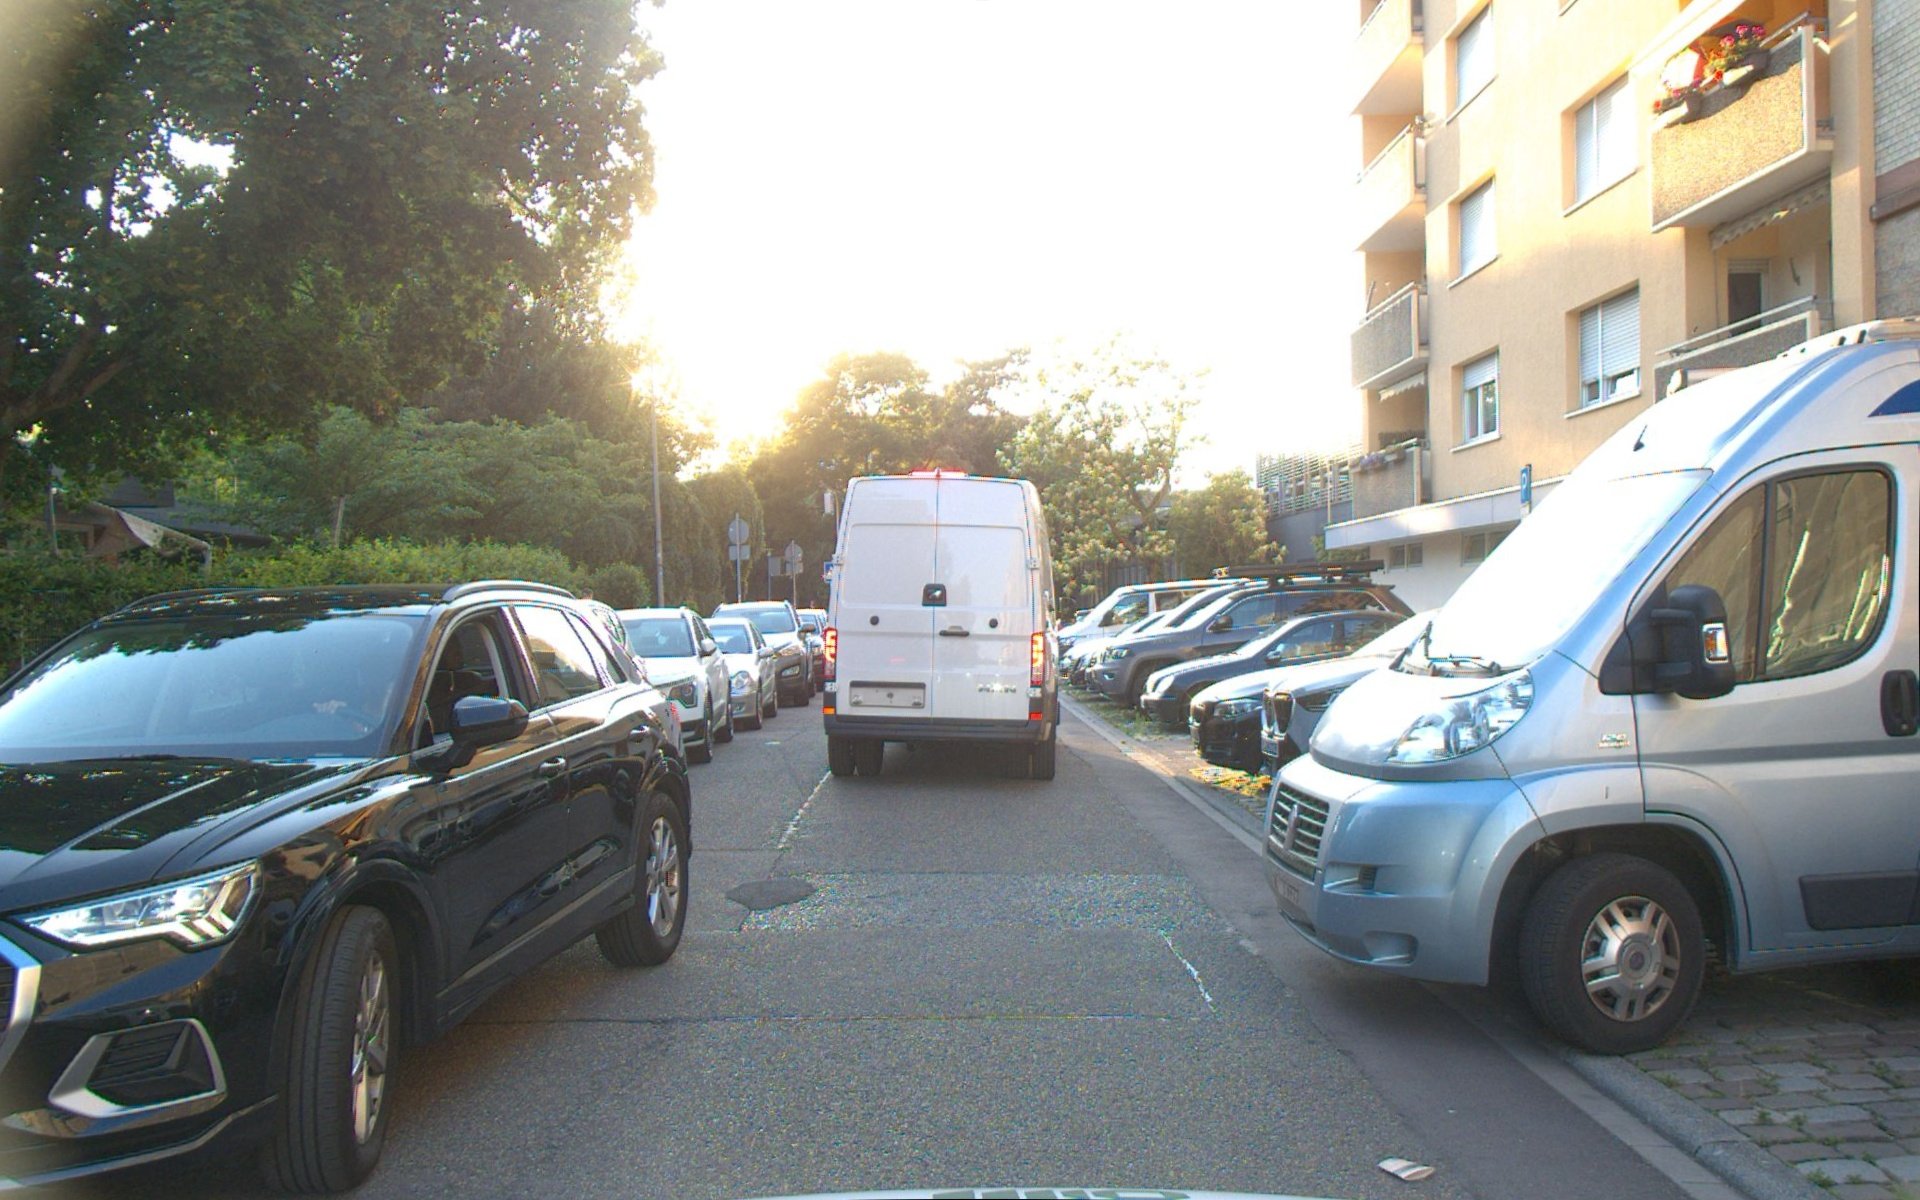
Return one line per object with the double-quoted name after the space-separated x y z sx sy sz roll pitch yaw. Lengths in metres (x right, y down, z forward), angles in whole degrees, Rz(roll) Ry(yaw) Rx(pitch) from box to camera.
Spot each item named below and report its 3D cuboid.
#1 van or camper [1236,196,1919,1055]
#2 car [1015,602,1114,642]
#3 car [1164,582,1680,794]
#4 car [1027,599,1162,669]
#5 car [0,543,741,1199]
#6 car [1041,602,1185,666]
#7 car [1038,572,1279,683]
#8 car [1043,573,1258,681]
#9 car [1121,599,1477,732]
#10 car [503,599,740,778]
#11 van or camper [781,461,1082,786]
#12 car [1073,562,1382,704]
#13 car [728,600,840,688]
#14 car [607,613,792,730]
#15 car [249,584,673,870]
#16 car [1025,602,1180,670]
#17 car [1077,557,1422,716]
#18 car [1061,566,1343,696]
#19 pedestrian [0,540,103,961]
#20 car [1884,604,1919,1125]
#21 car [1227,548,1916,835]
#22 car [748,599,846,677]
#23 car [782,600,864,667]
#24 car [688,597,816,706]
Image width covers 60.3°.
4.186 0.094 6.582 5.809 2.818 2.109 0 -1 -2 "van or camper"
4.320 0.919 68.993 3.908 1.646 1.998 0 0 -5 "car"
3.933 0.717 14.488 3.910 1.479 1.833 -4 0 -5 "car"
3.953 0.997 49.207 3.905 2.049 2.000 0 0 1 "car"
-2.180 0.720 5.595 1.766 1.597 4.568 -1 0 6 "car"
4.283 0.957 46.718 3.905 1.758 2.000 0 0 0 "car"
3.974 0.538 33.625 4.611 2.183 1.999 0 0 -2 "car"
4.065 0.582 35.811 4.405 2.269 2.031 0 0 -2 "car"
4.257 0.809 21.197 4.151 1.450 1.719 -2 0 -2 "car"
-3.409 0.830 17.393 1.819 1.582 4.097 -2 0 -4 "car"
-0.026 0.200 16.457 2.402 2.591 6.086 1 0 4 "van or camper"
4.204 0.516 26.524 4.611 2.183 1.999 0 0 -2 "car"
-3.438 0.826 32.920 1.953 1.646 3.998 0 0 -2 "car"
-3.435 0.899 22.490 1.953 1.422 3.999 0 0 -1 "car"
-3.404 0.787 12.129 1.746 1.659 4.000 -3 0 1 "car"
3.714 0.933 43.670 3.905 1.758 2.000 0 0 0 "car"
4.079 0.505 23.845 4.611 2.183 1.999 0 0 -2 "car"
4.159 0.524 28.950 4.611 2.183 1.999 0 0 -2 "car"
-4.653 0.666 7.690 0.919 1.862 0.786 0 -1 -2 "pedestrian"
4.563 0.637 3.754 3.854 1.512 1.787 -3 -2 0 "car"
4.325 0.598 12.036 4.350 1.758 1.770 -2 0 -7 "car"
-3.602 0.819 37.230 1.953 1.646 3.998 0 0 -2 "car"
-3.510 0.842 42.951 1.953 1.646 3.998 0 0 -2 "car"
-3.403 0.810 27.713 1.954 1.691 3.996 0 0 -5 "car"
